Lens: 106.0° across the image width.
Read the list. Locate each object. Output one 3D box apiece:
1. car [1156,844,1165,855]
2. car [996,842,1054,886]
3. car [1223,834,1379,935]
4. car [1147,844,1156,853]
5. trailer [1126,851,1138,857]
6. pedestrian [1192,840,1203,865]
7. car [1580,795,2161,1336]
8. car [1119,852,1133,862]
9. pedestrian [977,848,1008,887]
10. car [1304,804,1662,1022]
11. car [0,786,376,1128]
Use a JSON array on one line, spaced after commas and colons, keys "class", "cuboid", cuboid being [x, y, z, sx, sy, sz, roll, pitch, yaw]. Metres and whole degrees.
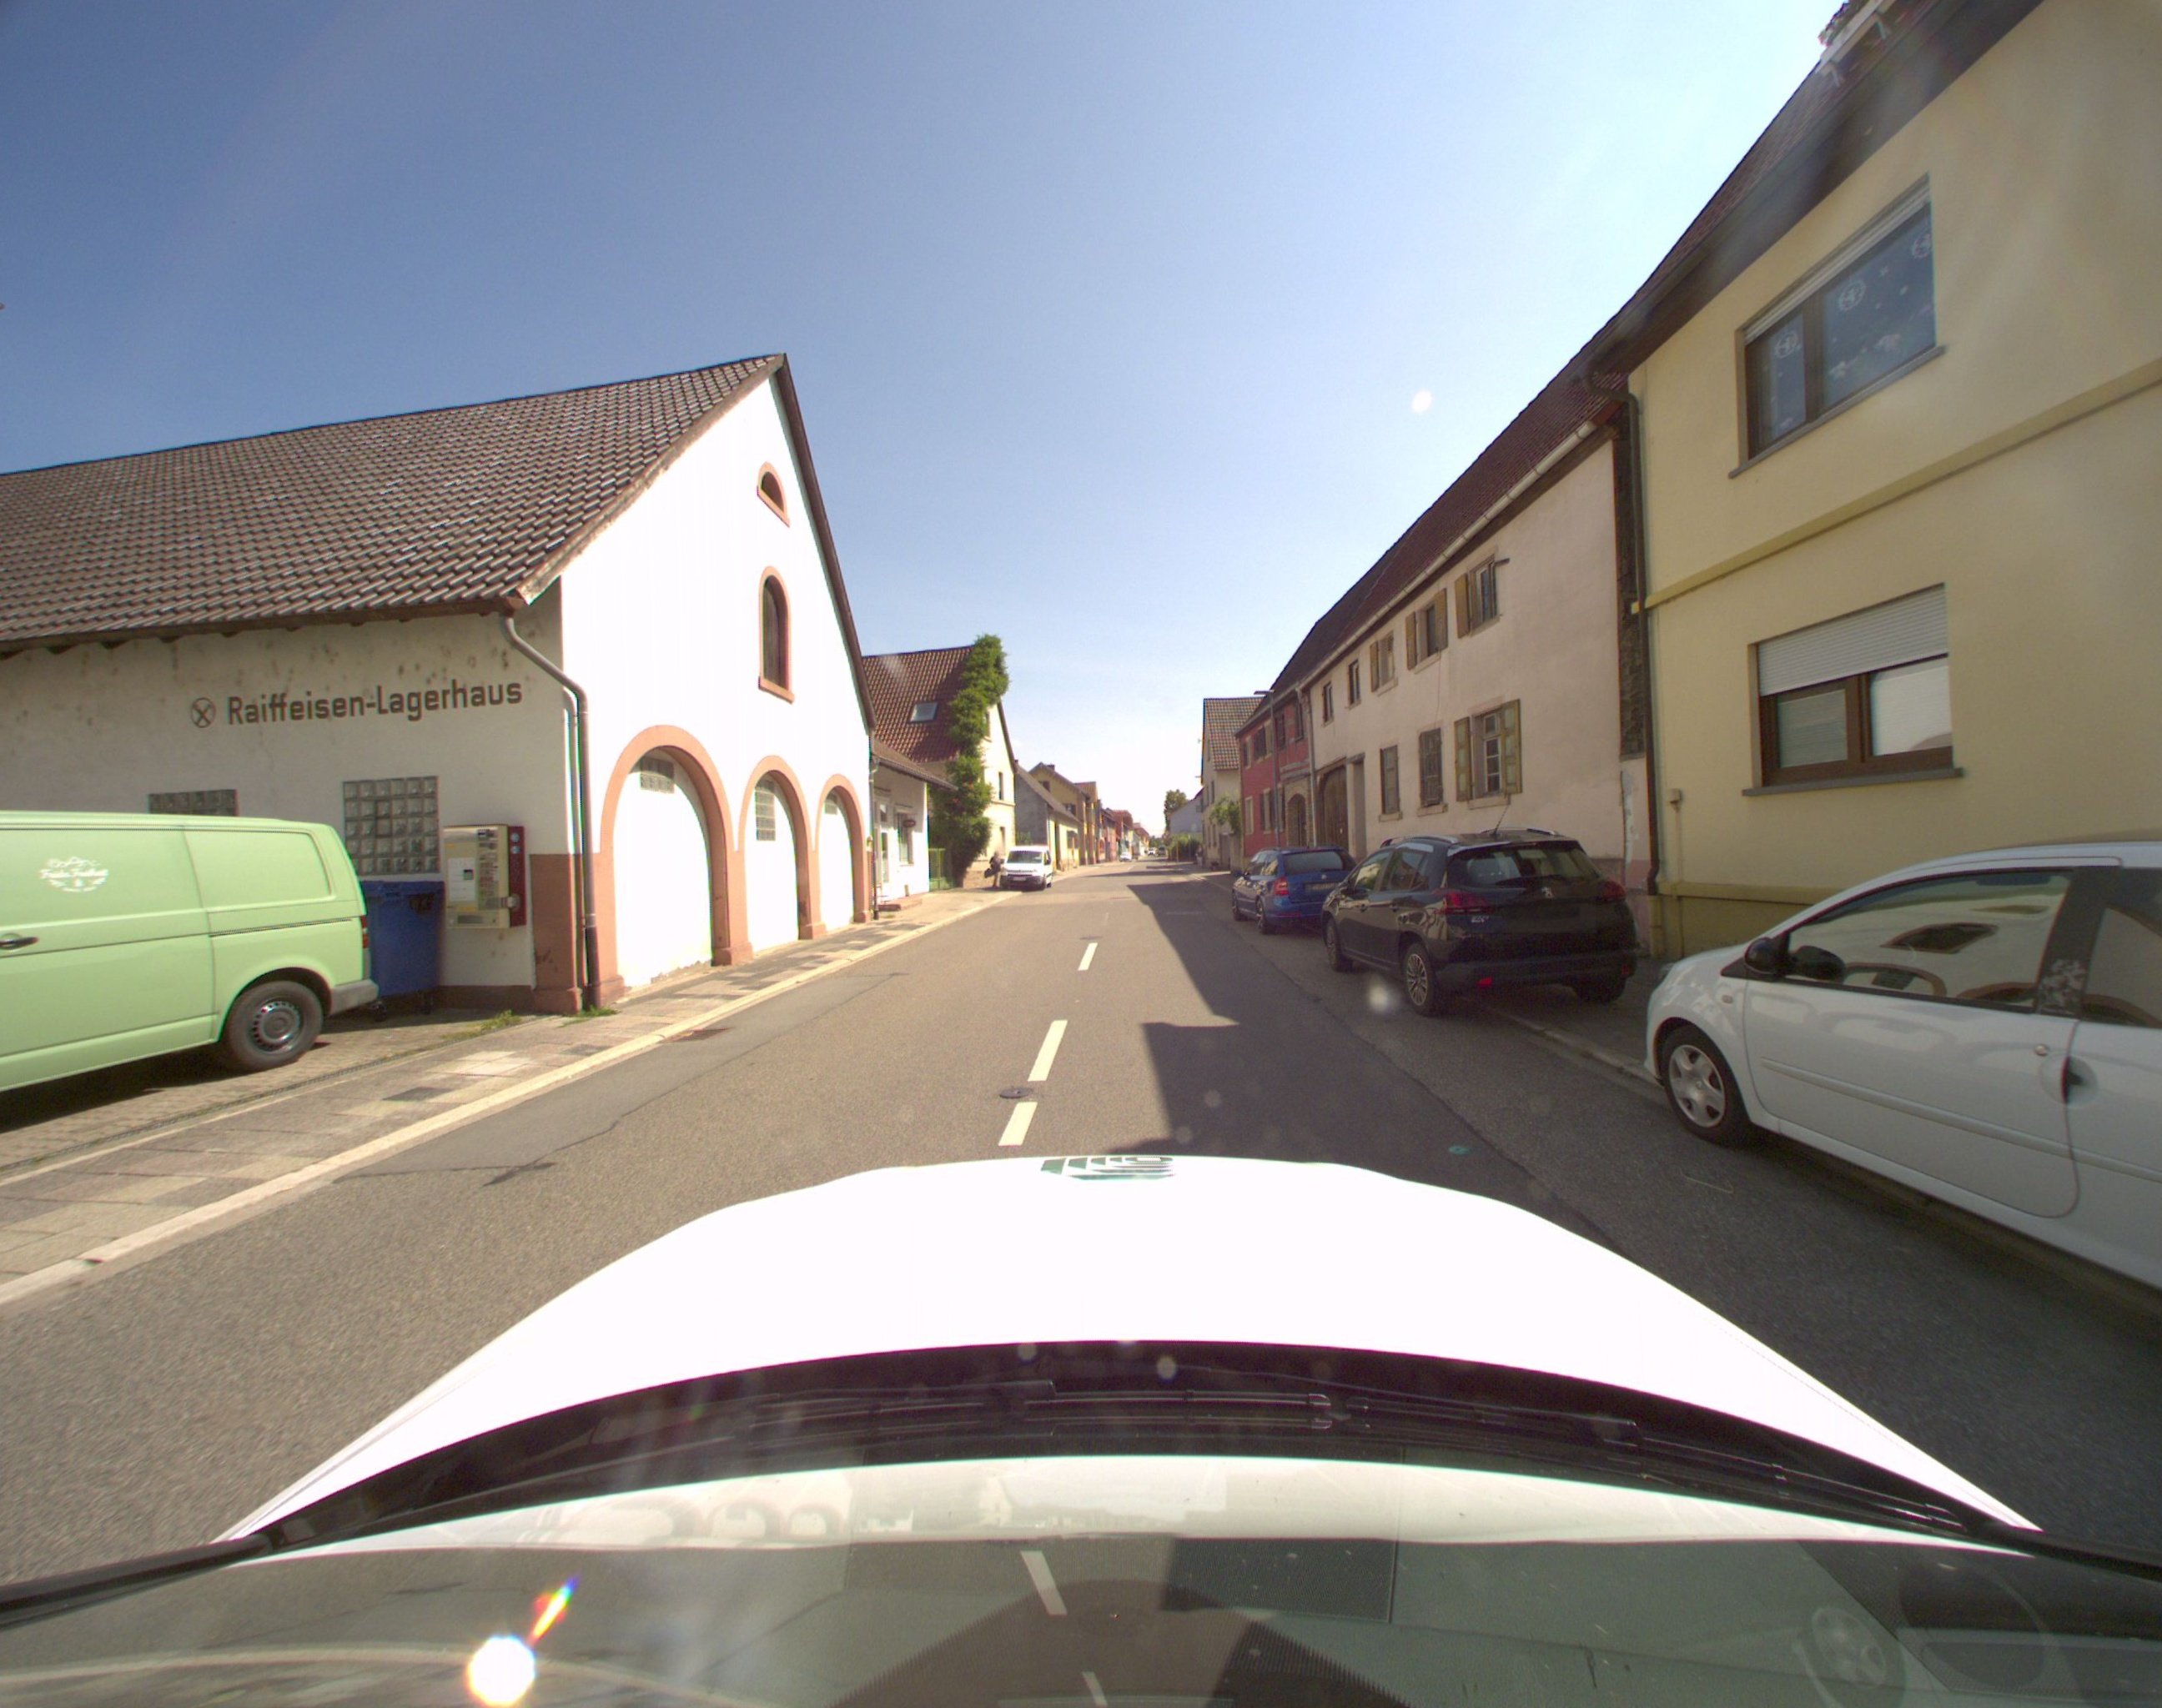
[{"class": "car", "cuboid": [19.818, -1.206, 203.623, 2.008, 2.567, 4.005, -3, 0, 4]}, {"class": "car", "cuboid": [-2.236, 0.374, 33.614, 1.848, 1.647, 4.432, -2, 0, 2]}, {"class": "car", "cuboid": [3.829, 0.460, 14.970, 1.692, 1.469, 4.411, -4, 0, 1]}, {"class": "car", "cuboid": [18.582, -1.392, 215.816, 2.149, 2.080, 4.004, -3, -1, 4]}, {"class": "trailer", "cuboid": [9.050, 0.016, 144.764, 1.985, 1.090, 4.004, -2, 0, 3]}, {"class": "pedestrian", "cuboid": [8.062, -0.106, 56.376, 0.715, 1.664, 0.894, -2, 0, 8]}, {"class": "car", "cuboid": [3.694, 0.527, 2.993, 1.544, 1.438, 3.724, -3, 0, 3]}, {"class": "car", "cuboid": [7.065, 0.411, 128.041, 1.984, 1.442, 4.005, -3, 0, 5]}, {"class": "pedestrian", "cuboid": [-3.675, 0.552, 33.954, 1.132, 1.552, 1.017, -2, 0, 1]}, {"class": "car", "cuboid": [3.653, 0.442, 8.303, 1.692, 1.583, 4.029, -4, 0, 2]}, {"class": "car", "cuboid": [-7.209, 0.620, 4.676, 1.984, 1.964, 4.675, -2, 0, 4]}]
